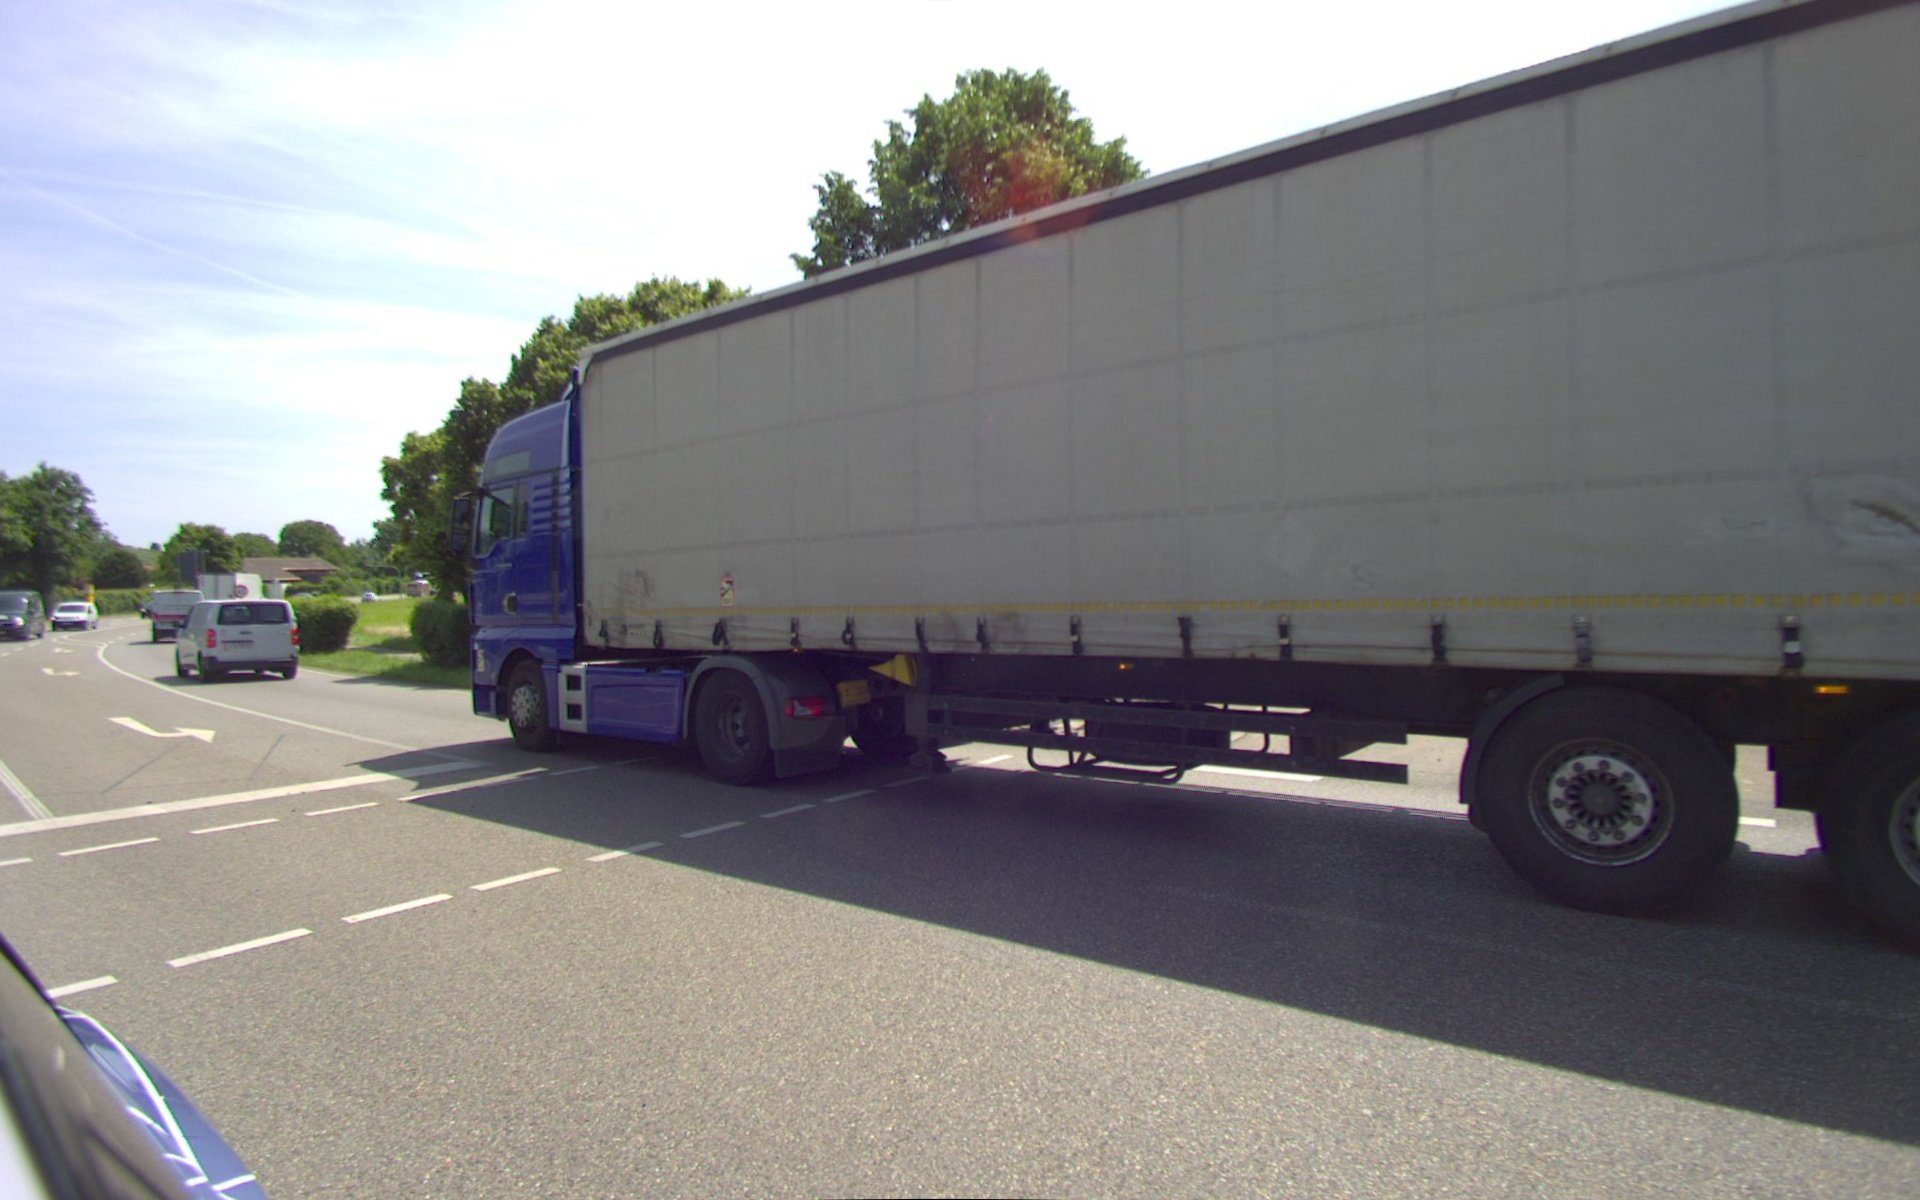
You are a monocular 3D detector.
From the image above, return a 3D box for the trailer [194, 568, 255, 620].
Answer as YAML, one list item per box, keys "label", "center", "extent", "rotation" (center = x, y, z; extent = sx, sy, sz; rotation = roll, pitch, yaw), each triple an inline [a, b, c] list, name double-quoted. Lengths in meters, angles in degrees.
- label: "trailer"
  center: [-62.986, -0.452, 86.908]
  extent: [2.739, 4.133, 11.697]
  rotation: [1, -1, -29]

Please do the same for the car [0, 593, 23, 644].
- label: "car"
  center: [-49.208, 0.913, 51.649]
  extent: [1.952, 2.538, 4.163]
  rotation: [-1, 1, -42]

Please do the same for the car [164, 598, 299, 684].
- label: "car"
  center: [-17.913, 0.944, 24.796]
  extent: [4.953, 1.900, 1.850]
  rotation: [-1, -1, 44]

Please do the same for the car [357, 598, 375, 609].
- label: "car"
  center: [-89.884, 0.513, 153.196]
  extent: [1.593, 1.473, 3.481]
  rotation: [-1, 1, -18]

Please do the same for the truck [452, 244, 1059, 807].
- label: "truck"
  center: [-2.450, -0.469, 10.386]
  extent: [6.555, 4.060, 2.541]
  rotation: [-2, -1, 40]

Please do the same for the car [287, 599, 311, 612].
- label: "car"
  center: [-93.284, 0.805, 142.878]
  extent: [1.780, 1.746, 4.012]
  rotation: [-2, 0, -16]

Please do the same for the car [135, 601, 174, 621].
- label: "car"
  center: [-73.370, 1.031, 92.178]
  extent: [1.779, 1.746, 4.013]
  rotation: [-2, 0, -24]

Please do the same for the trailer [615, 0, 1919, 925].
- label: "trailer"
  center: [3.021, -0.750, 5.968]
  extent: [13.574, 4.060, 2.542]
  rotation: [-2, -1, 38]

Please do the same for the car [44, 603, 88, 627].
- label: "car"
  center: [-58.411, 0.951, 66.193]
  extent: [1.755, 1.504, 4.167]
  rotation: [-1, 1, -36]

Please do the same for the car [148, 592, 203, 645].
- label: "car"
  center: [-38.857, 0.918, 50.087]
  extent: [2.025, 2.470, 5.277]
  rotation: [0, -1, -39]

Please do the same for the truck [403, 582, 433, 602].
- label: "truck"
  center: [-96.086, -1.458, 179.604]
  extent: [2.929, 3.596, 6.915]
  rotation: [0, 1, -12]
